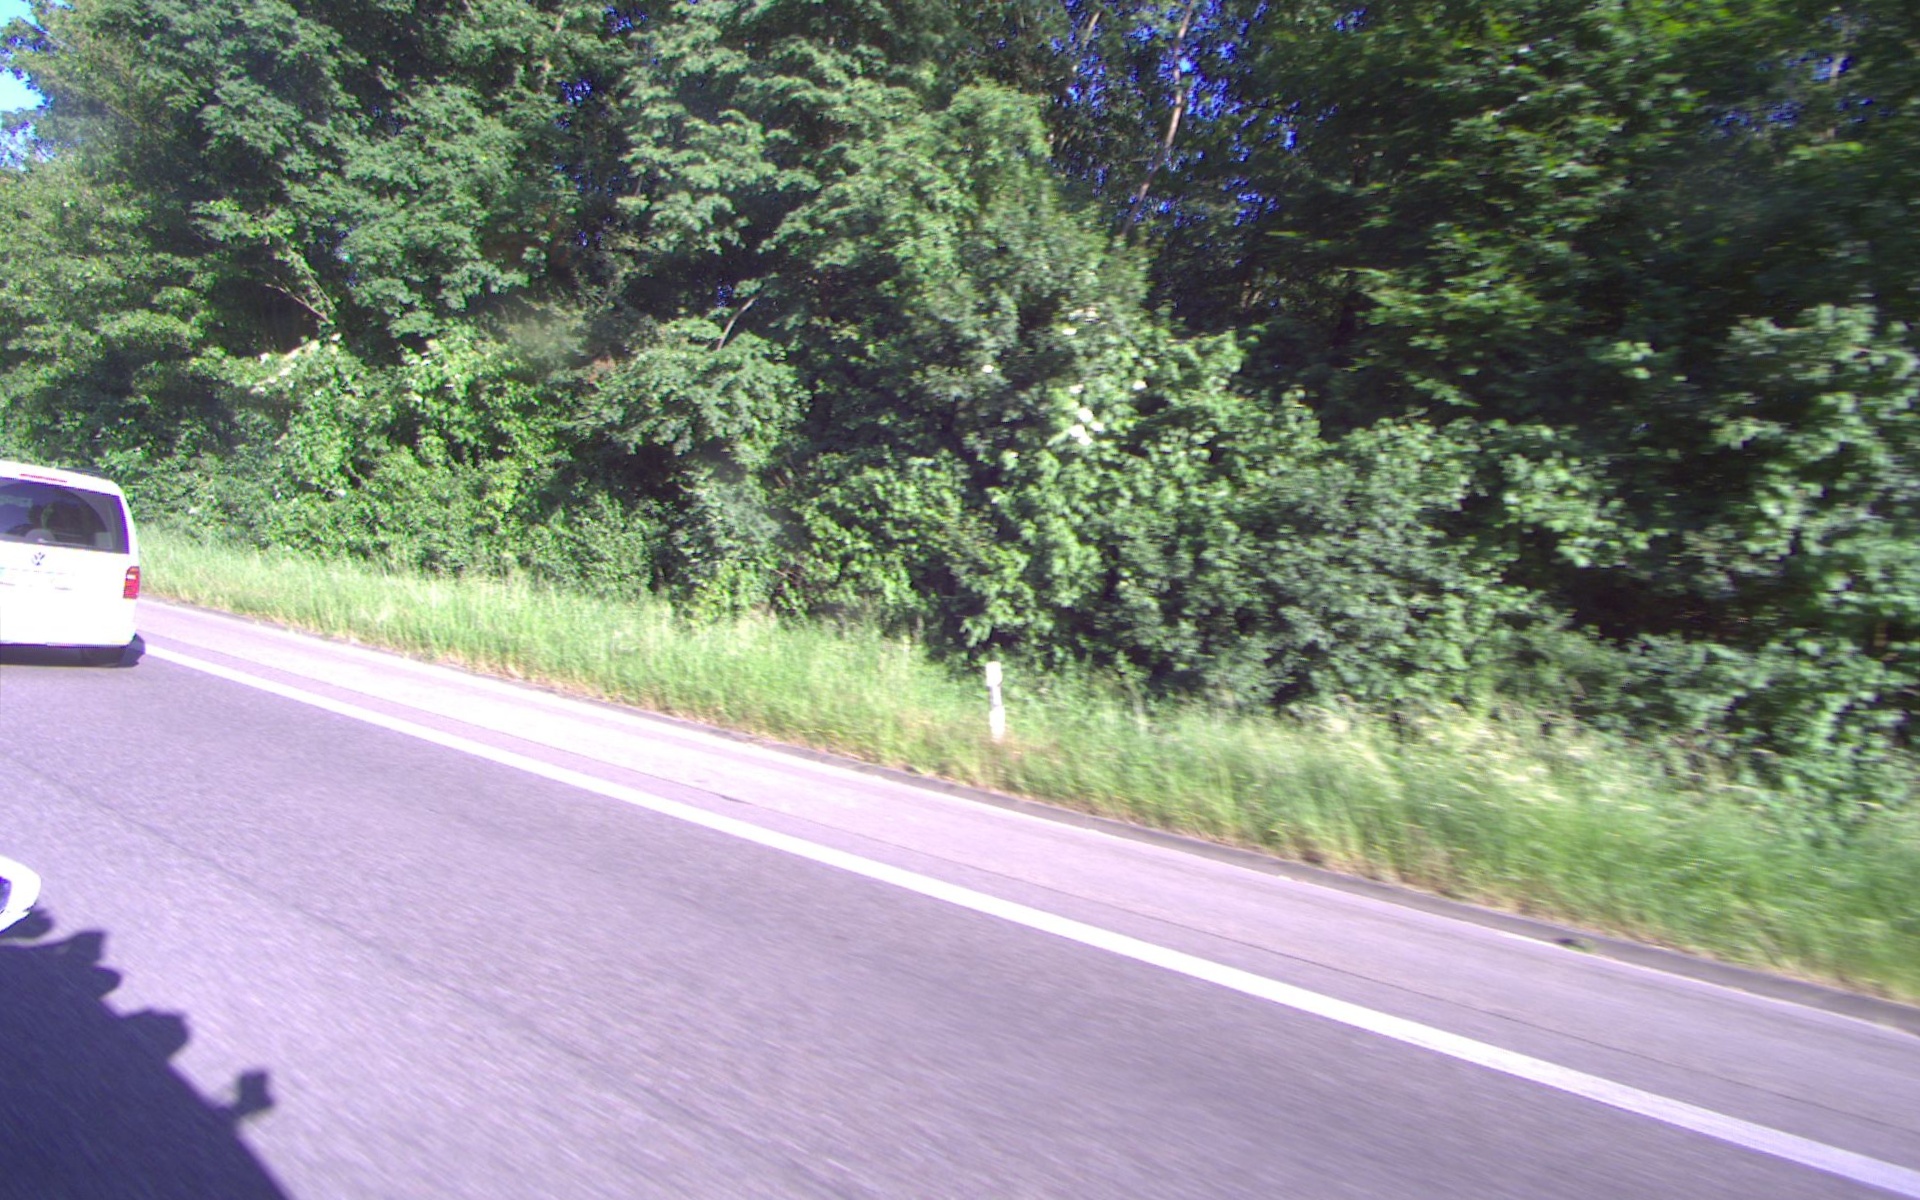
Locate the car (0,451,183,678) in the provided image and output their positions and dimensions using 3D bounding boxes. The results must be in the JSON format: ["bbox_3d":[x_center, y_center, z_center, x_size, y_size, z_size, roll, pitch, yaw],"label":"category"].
[{"bbox_3d":[-9.697,-0.484,9.736,4.511,1.834,1.802,6,-2,31],"label":"car"}]
